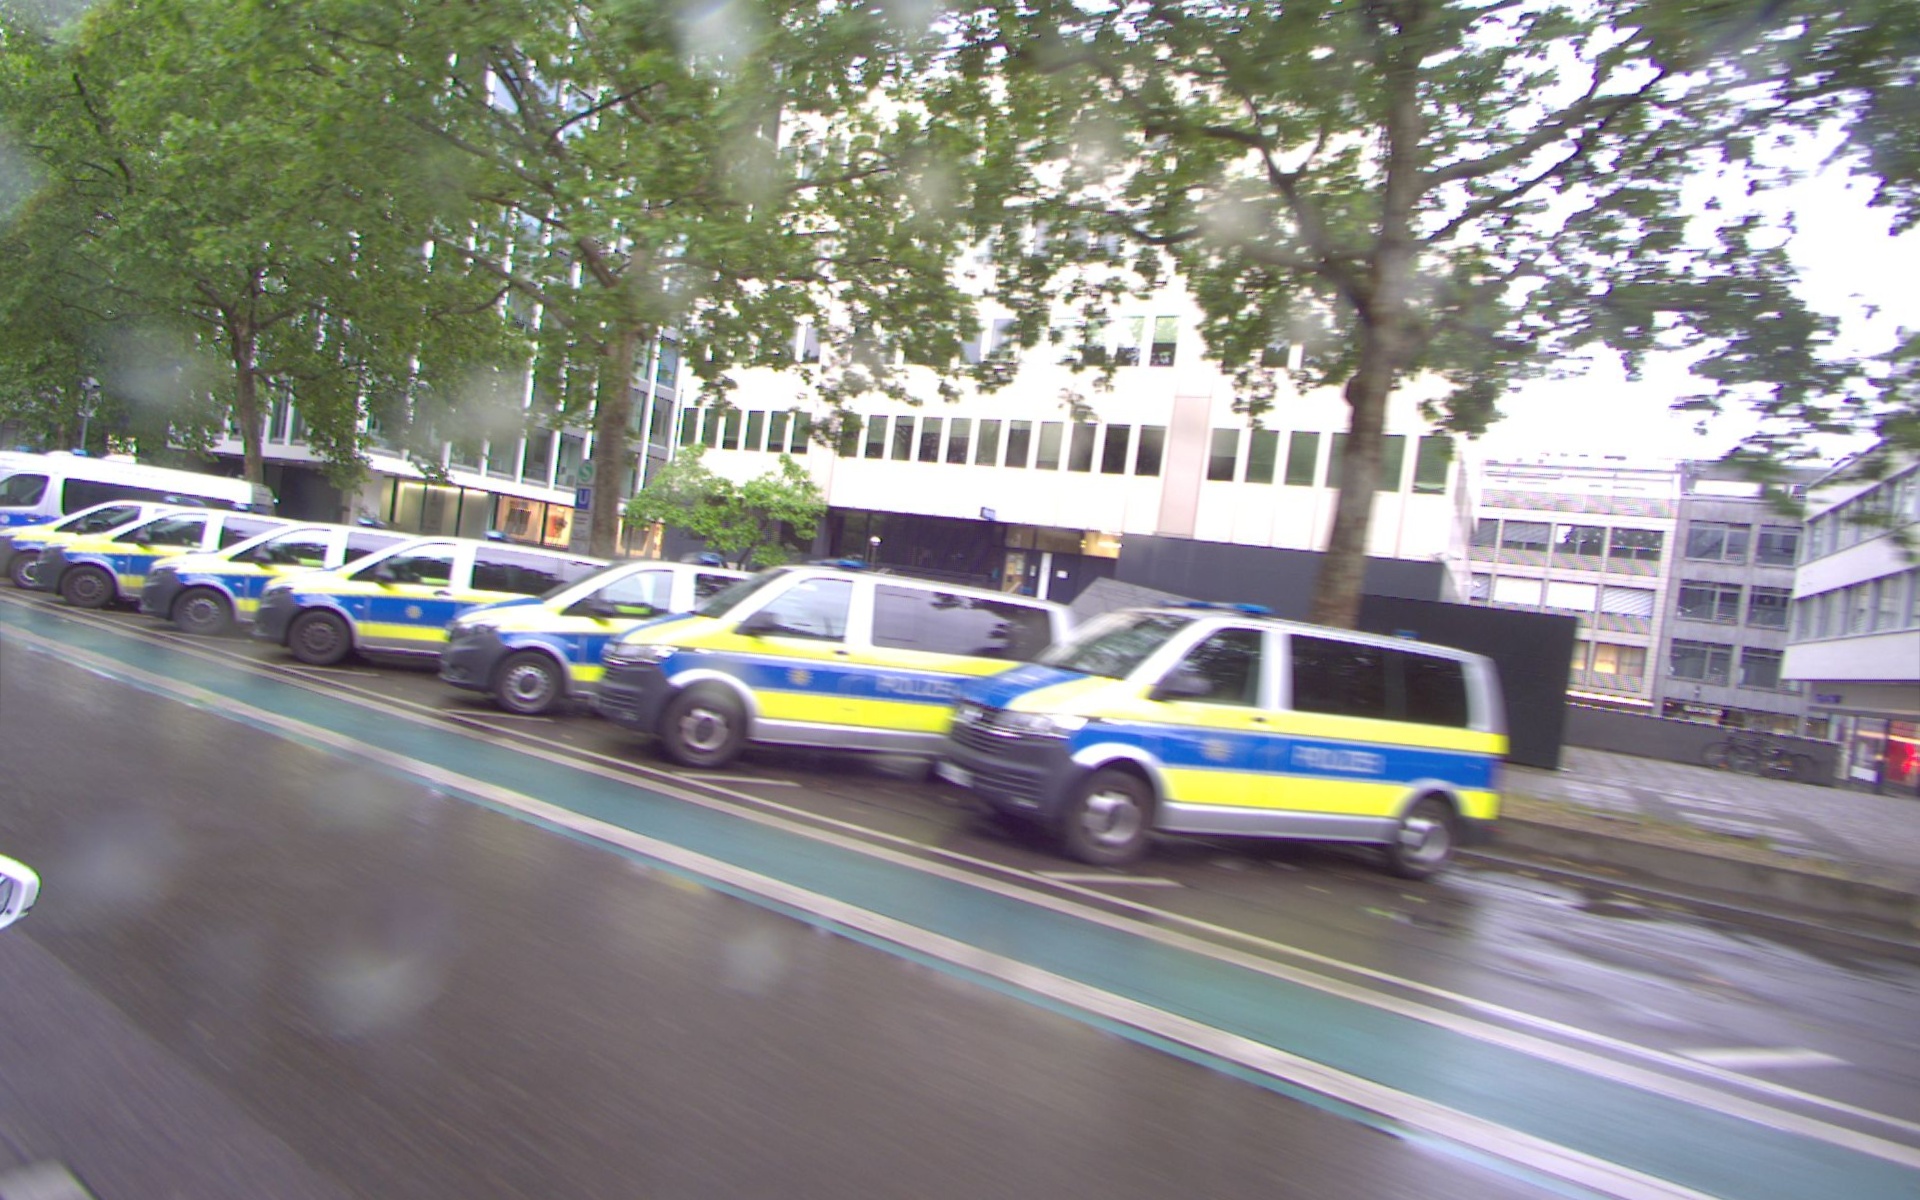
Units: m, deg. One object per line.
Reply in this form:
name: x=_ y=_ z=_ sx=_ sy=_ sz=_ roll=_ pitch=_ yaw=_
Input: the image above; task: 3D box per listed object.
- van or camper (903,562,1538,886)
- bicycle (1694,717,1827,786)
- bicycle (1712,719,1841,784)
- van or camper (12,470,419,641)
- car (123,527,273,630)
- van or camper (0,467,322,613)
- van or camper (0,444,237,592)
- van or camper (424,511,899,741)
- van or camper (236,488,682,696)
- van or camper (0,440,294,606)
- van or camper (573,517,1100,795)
van or camper: x=2.181 y=1.050 z=8.376 sx=4.790 sy=2.022 sz=1.859 roll=8 pitch=-1 yaw=-22
bicycle: x=18.709 y=3.519 z=23.574 sx=2.249 sy=1.187 sz=0.687 roll=7 pitch=0 yaw=32
bicycle: x=19.958 y=3.686 z=24.646 sx=2.248 sy=1.187 sz=0.688 roll=7 pitch=-1 yaw=29
van or camper: x=-12.492 y=-0.655 z=17.421 sx=5.144 sy=2.015 sz=1.990 roll=9 pitch=-2 yaw=-24
car: x=-12.759 y=-0.373 z=16.821 sx=2.649 sy=1.405 sz=1.051 roll=7 pitch=0 yaw=32
van or camper: x=-15.460 y=-1.072 z=19.321 sx=4.951 sy=2.037 sz=1.990 roll=7 pitch=-2 yaw=-23
van or camper: x=-20.364 y=-1.919 z=22.884 sx=5.737 sy=2.709 sz=2.137 roll=8 pitch=-1 yaw=-21
van or camper: x=-3.491 y=0.383 z=12.115 sx=4.963 sy=2.019 sz=1.988 roll=8 pitch=-1 yaw=-26
van or camper: x=-6.691 y=-0.031 z=14.092 sx=5.038 sy=2.049 sz=2.096 roll=8 pitch=-1 yaw=-21
van or camper: x=-17.810 y=-1.614 z=21.220 sx=5.736 sy=2.713 sz=1.989 roll=8 pitch=0 yaw=-23
van or camper: x=-1.242 y=0.617 z=10.108 sx=4.732 sy=2.034 sz=1.990 roll=8 pitch=-1 yaw=-22
